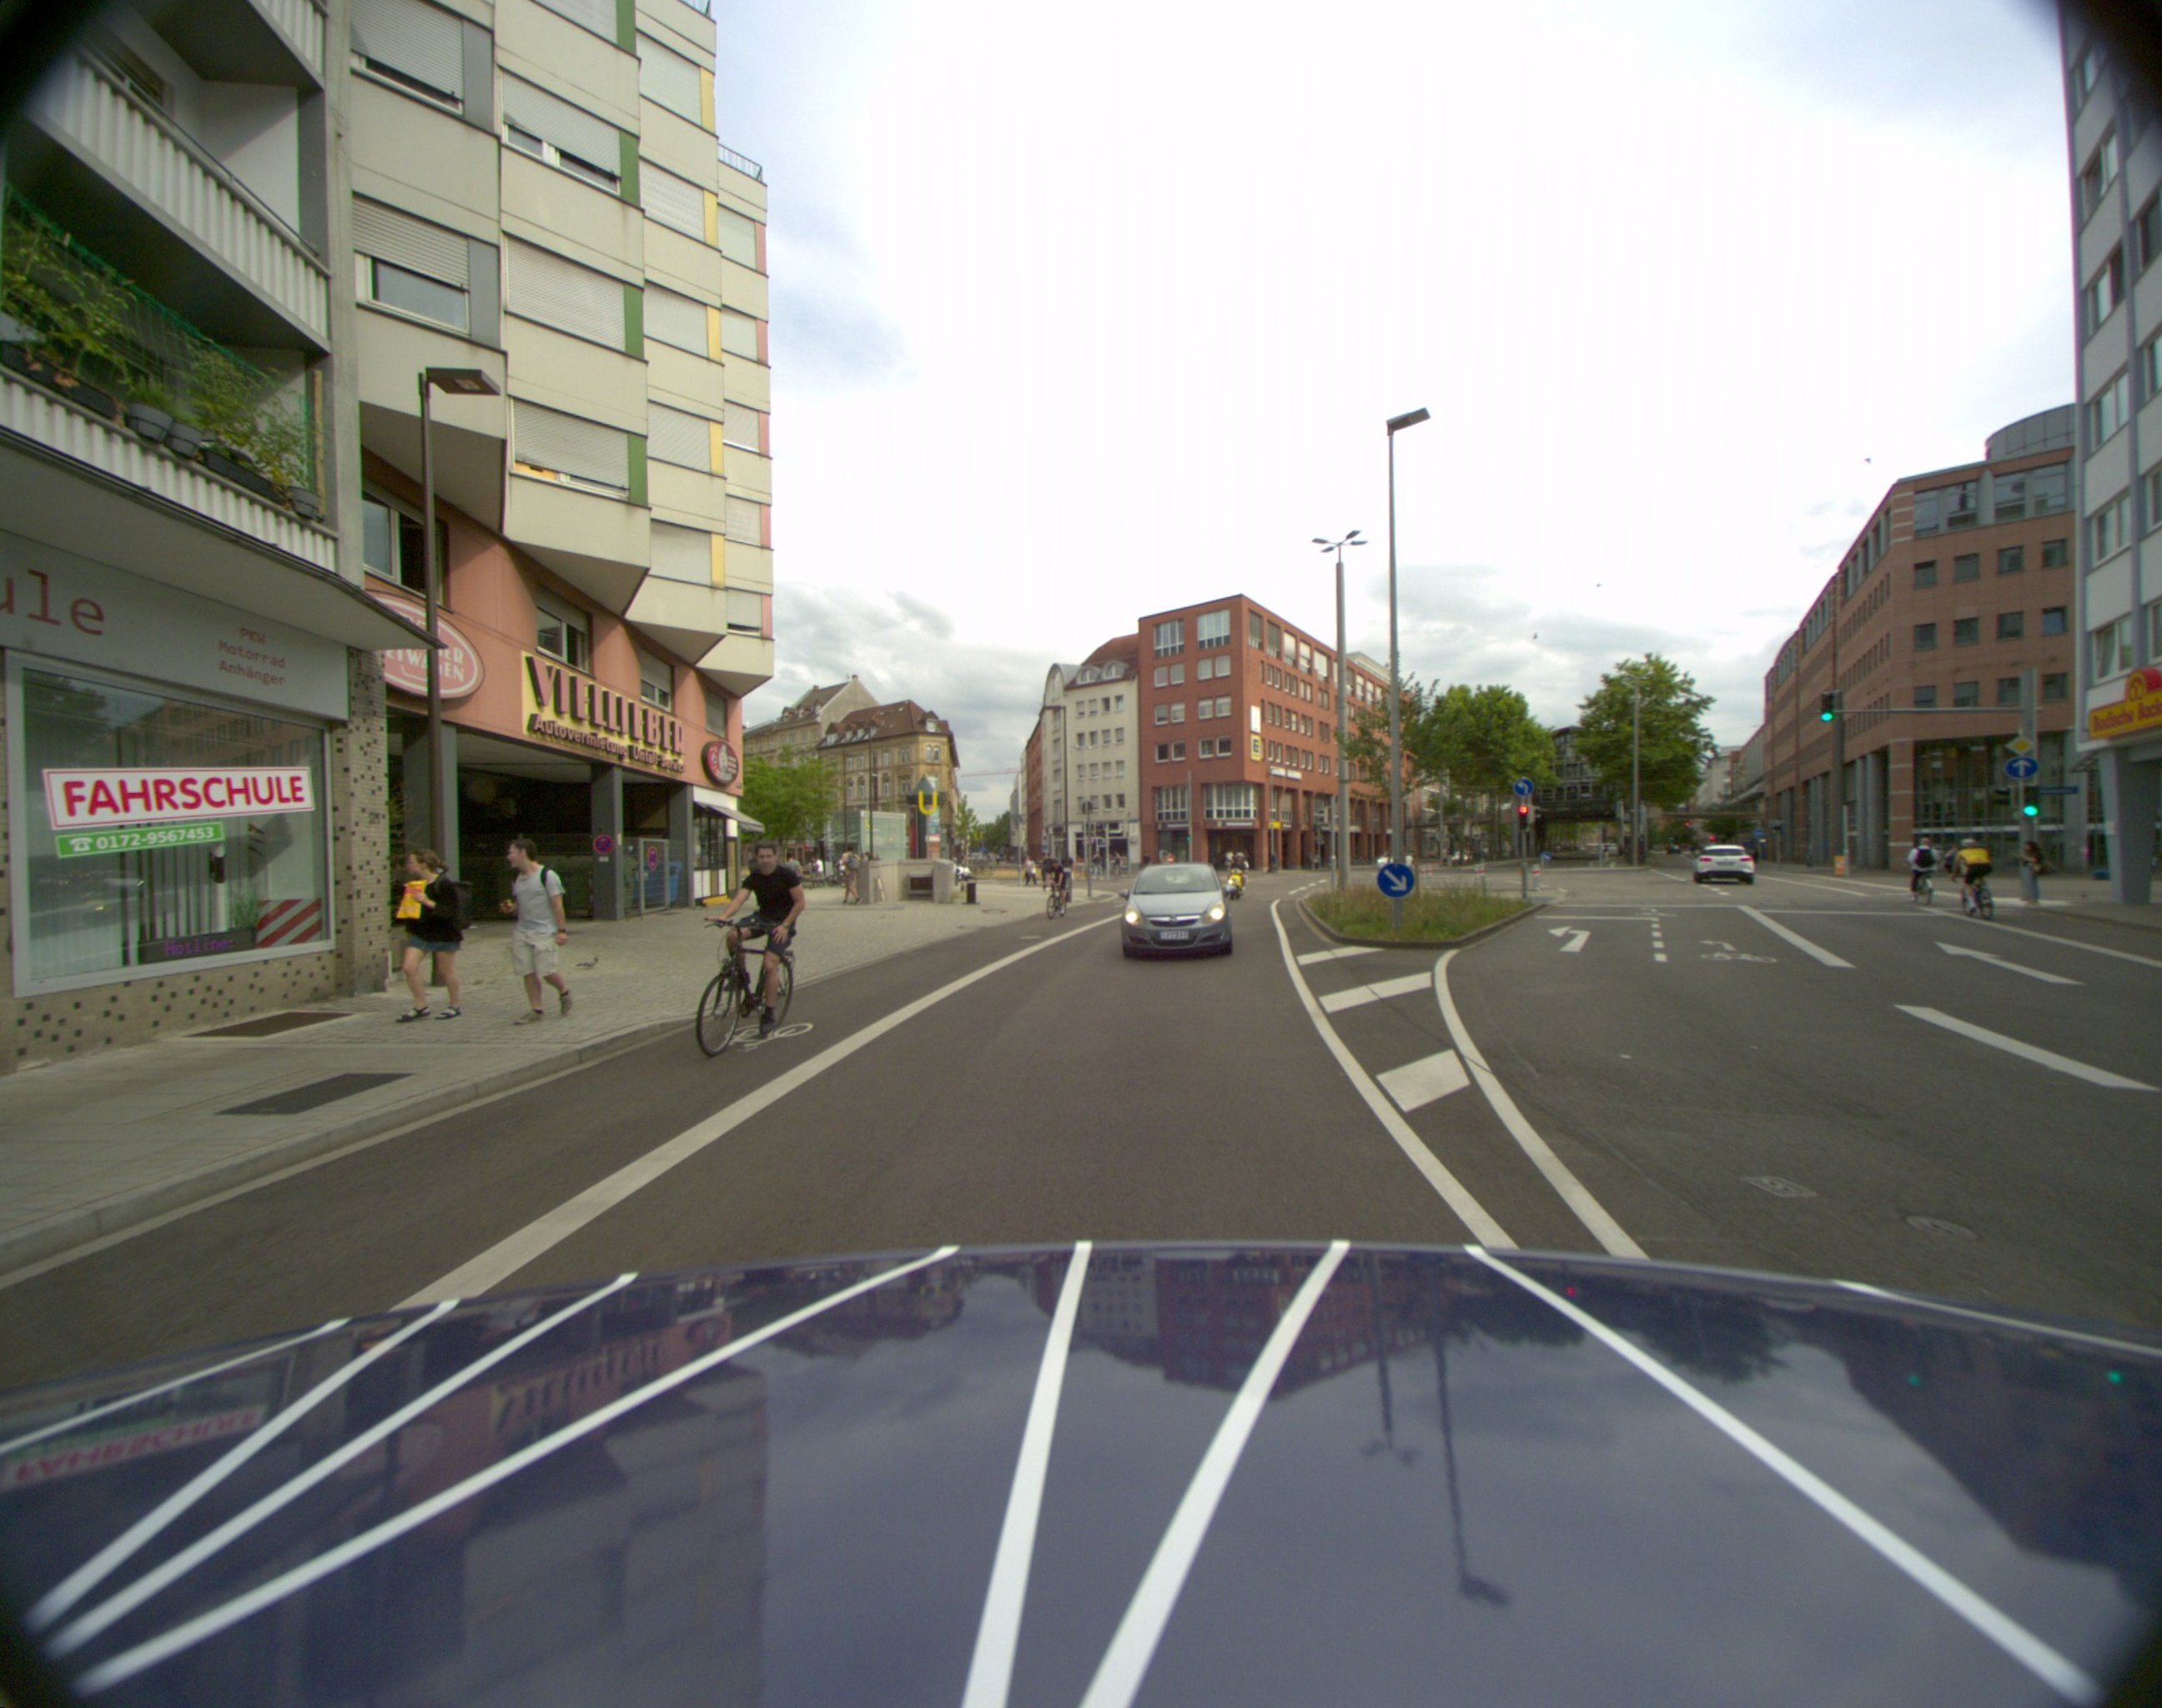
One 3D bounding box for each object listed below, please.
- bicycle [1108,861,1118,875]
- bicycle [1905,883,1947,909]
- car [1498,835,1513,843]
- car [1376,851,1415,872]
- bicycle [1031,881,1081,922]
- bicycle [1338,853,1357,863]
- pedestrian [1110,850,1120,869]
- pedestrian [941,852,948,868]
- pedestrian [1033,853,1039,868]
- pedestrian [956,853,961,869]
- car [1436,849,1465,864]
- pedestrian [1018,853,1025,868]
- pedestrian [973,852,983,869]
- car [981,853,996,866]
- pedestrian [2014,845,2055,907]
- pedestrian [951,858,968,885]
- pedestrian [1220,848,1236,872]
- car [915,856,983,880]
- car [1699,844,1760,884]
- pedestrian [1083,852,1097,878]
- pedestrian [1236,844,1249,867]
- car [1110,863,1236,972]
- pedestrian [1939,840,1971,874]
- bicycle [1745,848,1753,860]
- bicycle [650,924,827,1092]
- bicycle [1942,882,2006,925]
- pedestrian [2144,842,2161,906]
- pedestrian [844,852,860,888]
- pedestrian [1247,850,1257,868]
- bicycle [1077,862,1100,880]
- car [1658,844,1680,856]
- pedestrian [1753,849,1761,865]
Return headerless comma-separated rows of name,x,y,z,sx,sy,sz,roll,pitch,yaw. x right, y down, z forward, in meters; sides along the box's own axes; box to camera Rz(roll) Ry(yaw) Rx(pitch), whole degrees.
bicycle,2.227,1.001,53.184,0.543,0.945,1.807,-1,0,-2
bicycle,22.860,1.112,20.577,0.483,0.585,2.002,-1,0,40
car,85.296,-2.962,152.609,1.953,1.592,4.008,-1,1,38
car,25.835,0.618,62.386,1.953,1.592,4.008,-1,1,38
bicycle,-0.690,1.334,21.483,0.488,0.995,1.750,-2,1,31
bicycle,28.747,0.439,82.018,1.855,1.034,0.508,-1,1,38
pedestrian,2.938,0.509,66.072,0.707,1.638,0.720,-1,0,-15
pedestrian,-14.123,0.632,78.664,0.423,1.675,0.516,0,1,38
pedestrian,-5.070,0.723,85.354,0.541,1.712,0.519,-1,1,-17
pedestrian,-12.874,0.773,79.962,0.425,1.675,0.514,-1,1,-20
car,39.375,0.263,80.935,1.953,1.592,4.008,-1,0,38
pedestrian,-6.671,0.751,85.061,0.592,1.712,0.519,-1,1,-14
pedestrian,-10.220,0.670,75.461,0.606,1.675,0.732,-5,3,-29
car,-11.450,0.638,94.202,1.696,1.577,3.657,-1,0,-9
pedestrian,24.031,0.548,19.154,0.499,1.550,0.519,-1,1,30
pedestrian,-6.849,0.998,42.861,0.551,1.492,0.848,-1,2,21
pedestrian,12.454,0.496,64.504,0.998,2.001,1.045,-3,0,-4
car,-9.139,0.948,52.400,4.590,1.503,2.004,0,2,38
car,28.344,0.400,33.314,1.832,1.650,4.333,0,0,38
pedestrian,0.577,0.690,47.885,0.519,1.676,0.727,0,1,38
pedestrian,14.236,0.133,67.056,0.814,2.001,0.799,-3,0,35
car,1.668,0.954,12.883,1.722,1.394,4.003,-3,0,10
pedestrian,37.469,0.128,32.584,0.797,1.464,0.686,-1,1,38
bicycle,65.228,-0.022,74.202,0.546,1.111,1.593,-1,0,38
bicycle,-2.992,1.290,6.894,0.406,1.115,2.018,-2,0,8
bicycle,19.605,1.066,16.716,0.409,0.790,2.002,-1,0,34
pedestrian,26.878,0.485,18.642,0.660,1.585,0.688,-1,1,-6
pedestrian,-12.004,0.818,39.851,0.547,1.856,0.586,0,0,33
pedestrian,15.481,0.443,68.899,0.541,1.642,0.894,0,0,37
bicycle,0.494,1.084,48.621,0.397,1.104,1.834,0,1,38
car,101.141,-0.727,130.661,2.503,1.936,5.102,-1,0,32
pedestrian,65.383,0.286,73.458,0.527,1.564,0.602,0,1,37
